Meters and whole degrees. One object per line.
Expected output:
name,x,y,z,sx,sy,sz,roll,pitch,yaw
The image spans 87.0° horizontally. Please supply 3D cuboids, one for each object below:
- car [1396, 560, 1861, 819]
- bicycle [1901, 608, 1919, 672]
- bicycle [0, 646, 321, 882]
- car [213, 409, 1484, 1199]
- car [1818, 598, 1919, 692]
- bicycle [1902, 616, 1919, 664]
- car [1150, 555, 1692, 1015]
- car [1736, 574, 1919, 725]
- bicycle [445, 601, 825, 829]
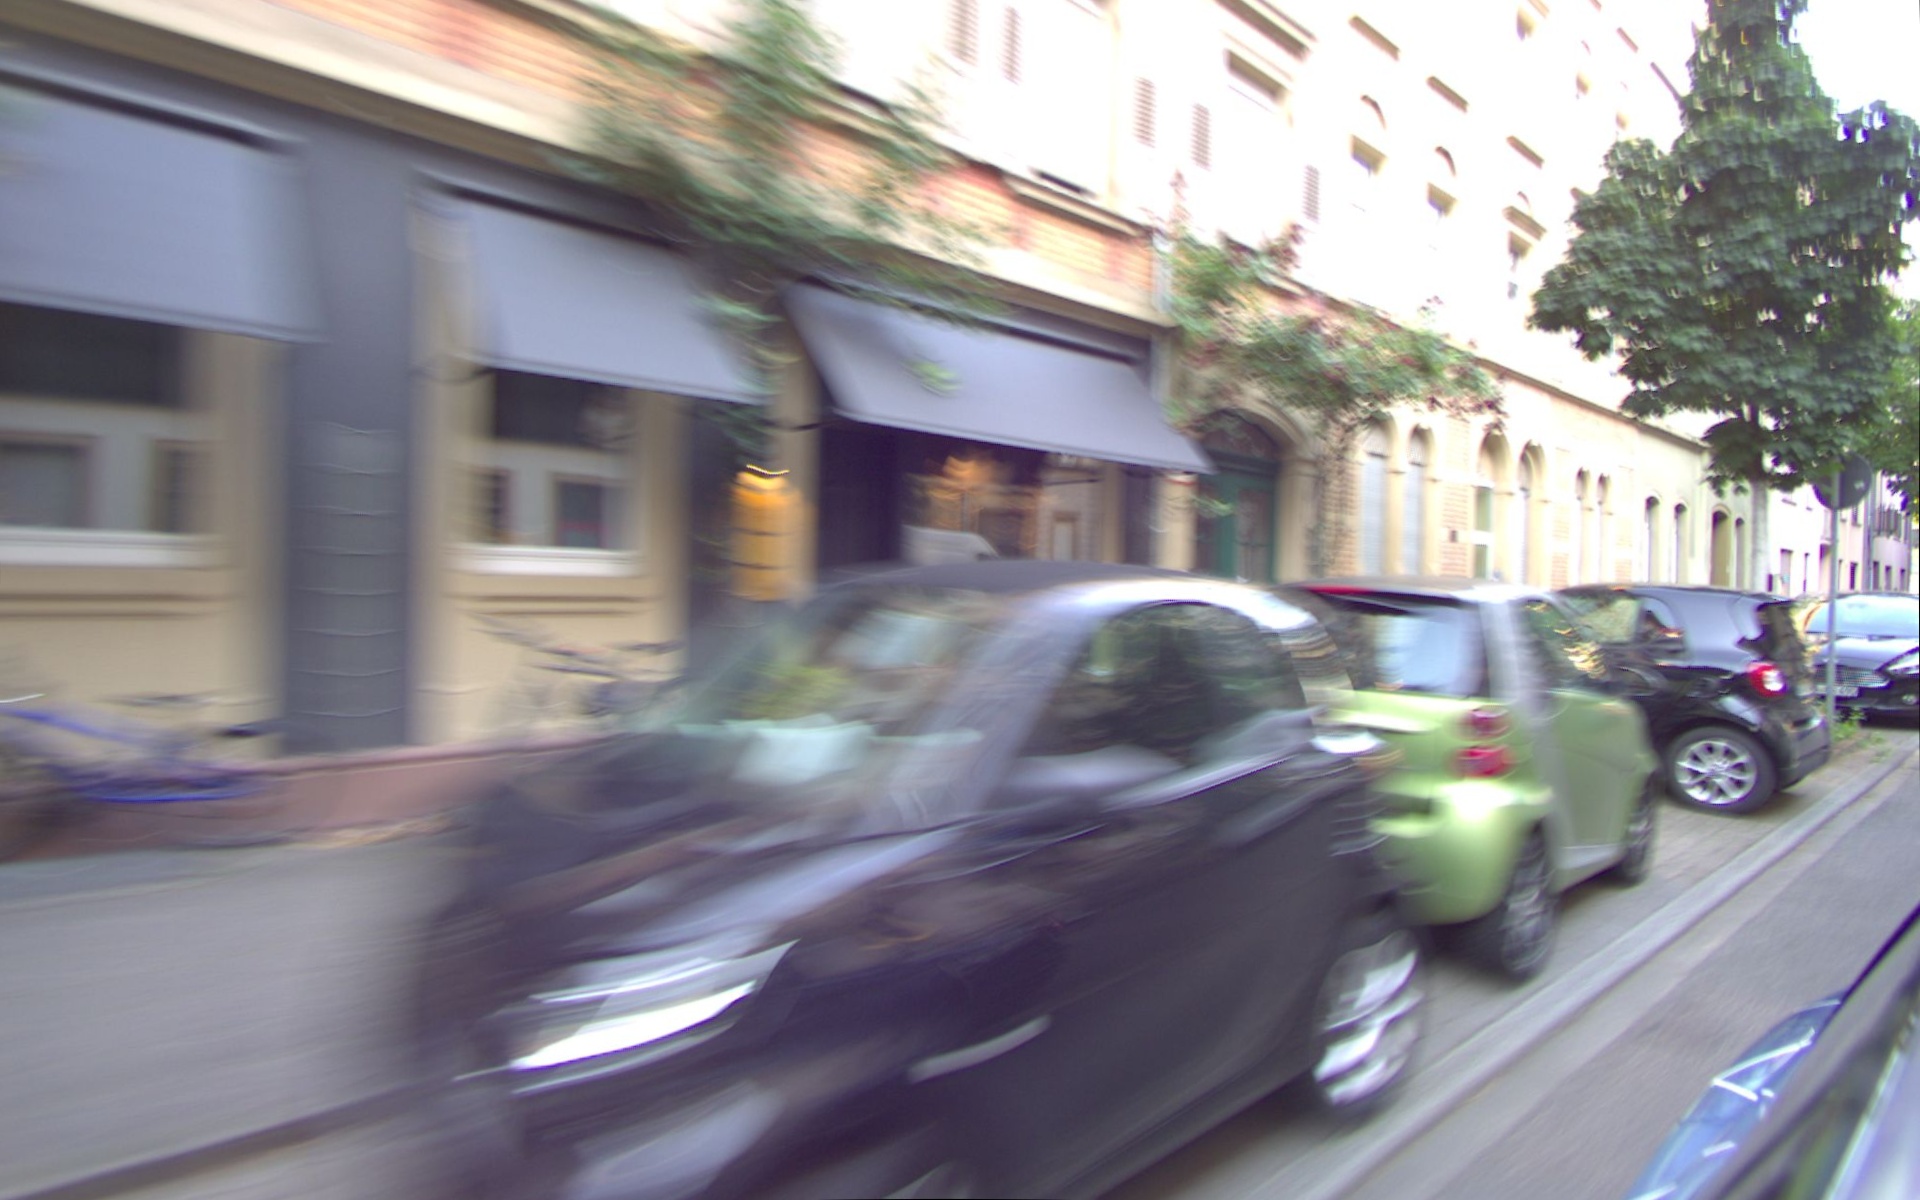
car,5.197,0.542,8.065,1.499,1.592,2.721,1,3,-40
bicycle,19.718,0.811,19.806,1.739,1.239,0.636,2,2,23
bicycle,-3.688,0.672,4.366,1.521,0.870,0.446,0,1,-42
car,-0.028,0.562,2.740,3.069,1.580,1.593,0,1,-42
car,16.663,0.717,17.526,4.781,1.421,2.050,0,2,-41
bicycle,21.501,0.914,21.795,0.628,1.033,1.762,1,2,-6
car,2.406,0.614,5.017,2.870,1.571,1.466,0,2,-44
car,11.687,0.531,12.980,4.376,1.651,1.942,0,1,-41
bicycle,-1.782,0.556,5.743,1.915,1.048,0.688,0,4,-40
